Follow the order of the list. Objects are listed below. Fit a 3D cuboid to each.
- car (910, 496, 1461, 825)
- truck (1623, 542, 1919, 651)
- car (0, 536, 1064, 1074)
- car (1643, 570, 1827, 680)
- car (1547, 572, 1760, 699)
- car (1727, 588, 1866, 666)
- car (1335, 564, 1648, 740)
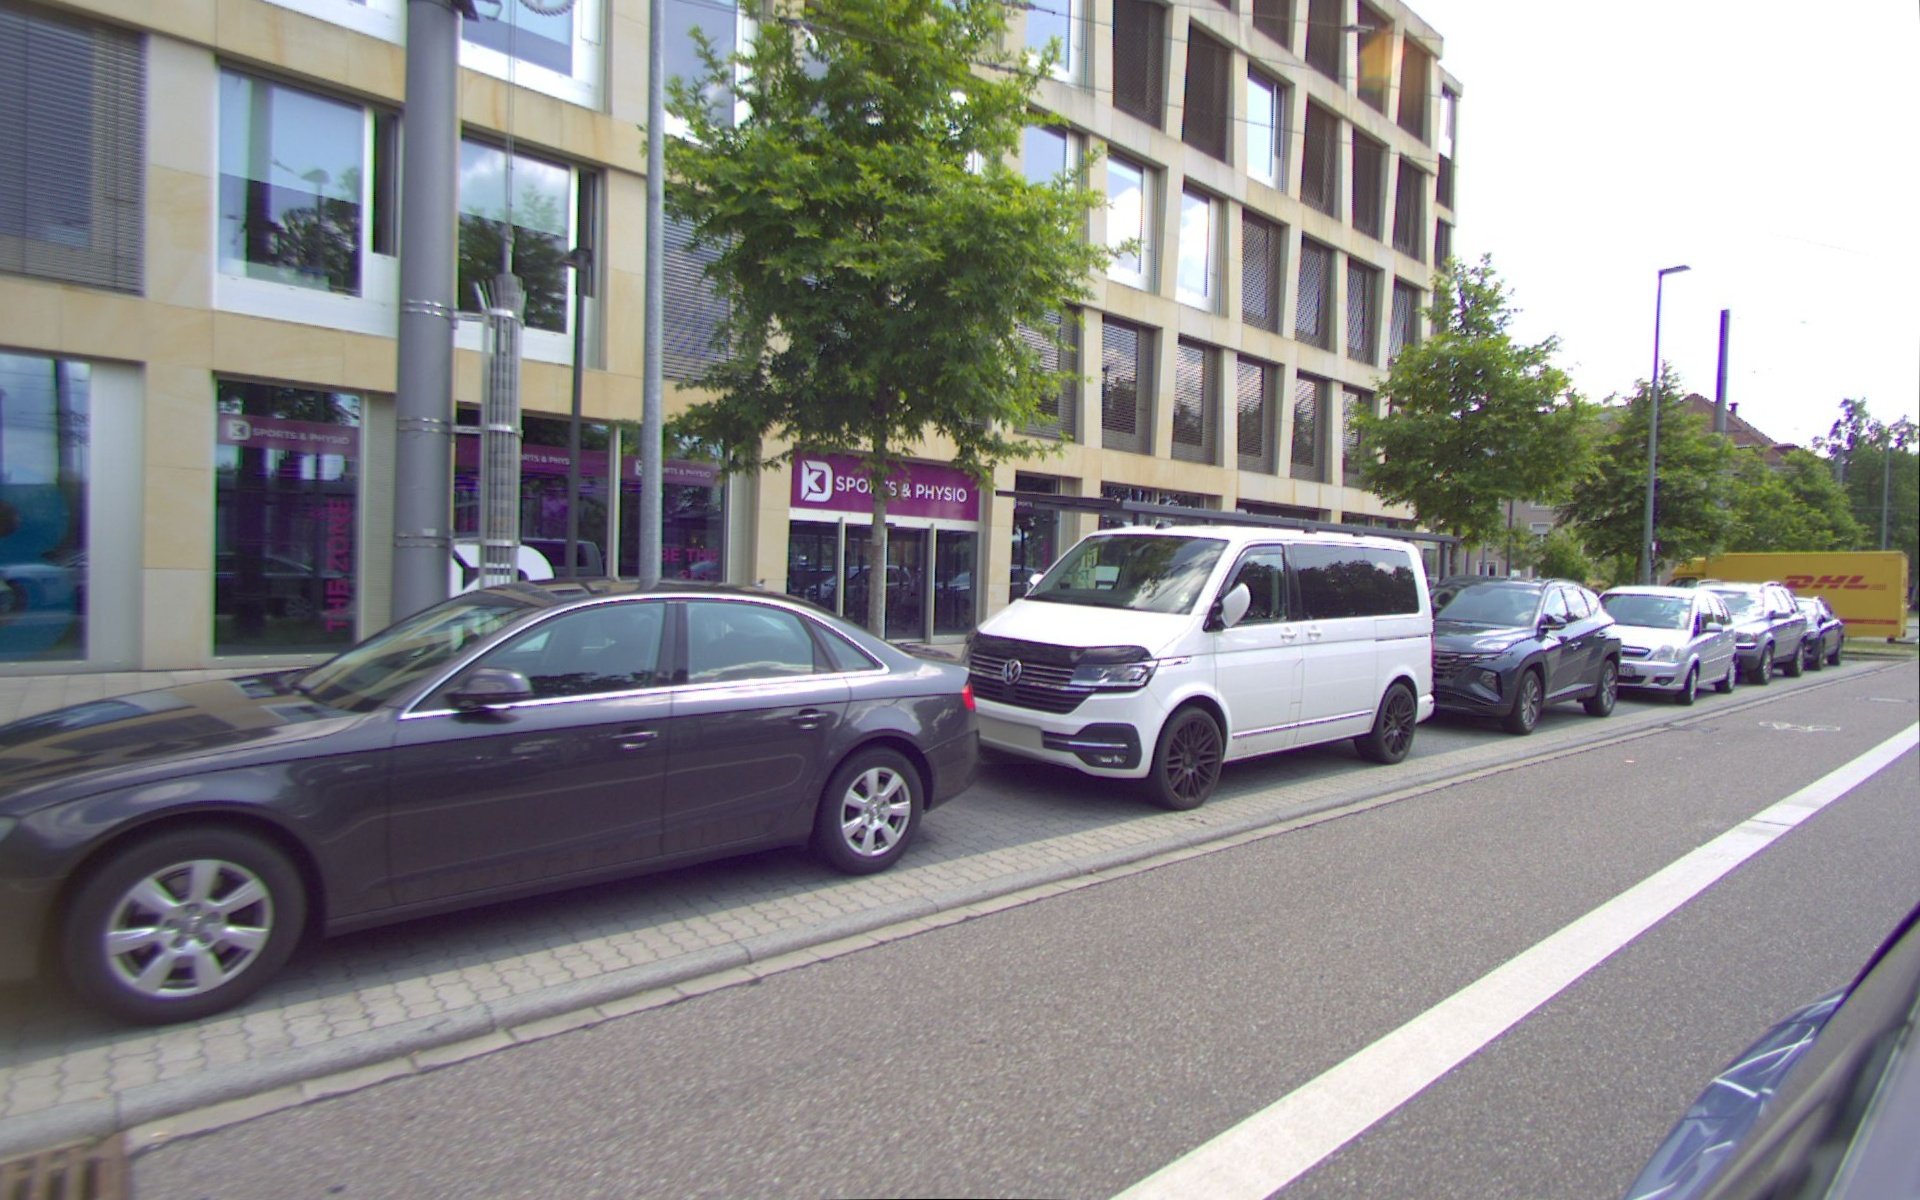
[{"bbox_3d":[2.070,0.301,8.298,4.758,1.962,1.886,0,3,-41],"label":"car"},{"bbox_3d":[24.213,-0.252,30.328,2.413,2.902,6.817,0,3,-42],"label":"truck"},{"bbox_3d":[-1.740,0.535,4.936,4.483,1.505,1.886,0,3,-41],"label":"car"},{"bbox_3d":[14.571,0.389,18.921,4.755,1.789,1.772,0,2,-41],"label":"car"},{"bbox_3d":[10.543,0.447,15.290,3.792,1.640,1.724,0,2,-41],"label":"car"},{"bbox_3d":[18.549,0.539,22.385,3.997,1.523,1.695,0,2,-41],"label":"car"},{"bbox_3d":[6.411,0.479,11.978,4.448,1.660,1.725,0,3,-41],"label":"car"}]
